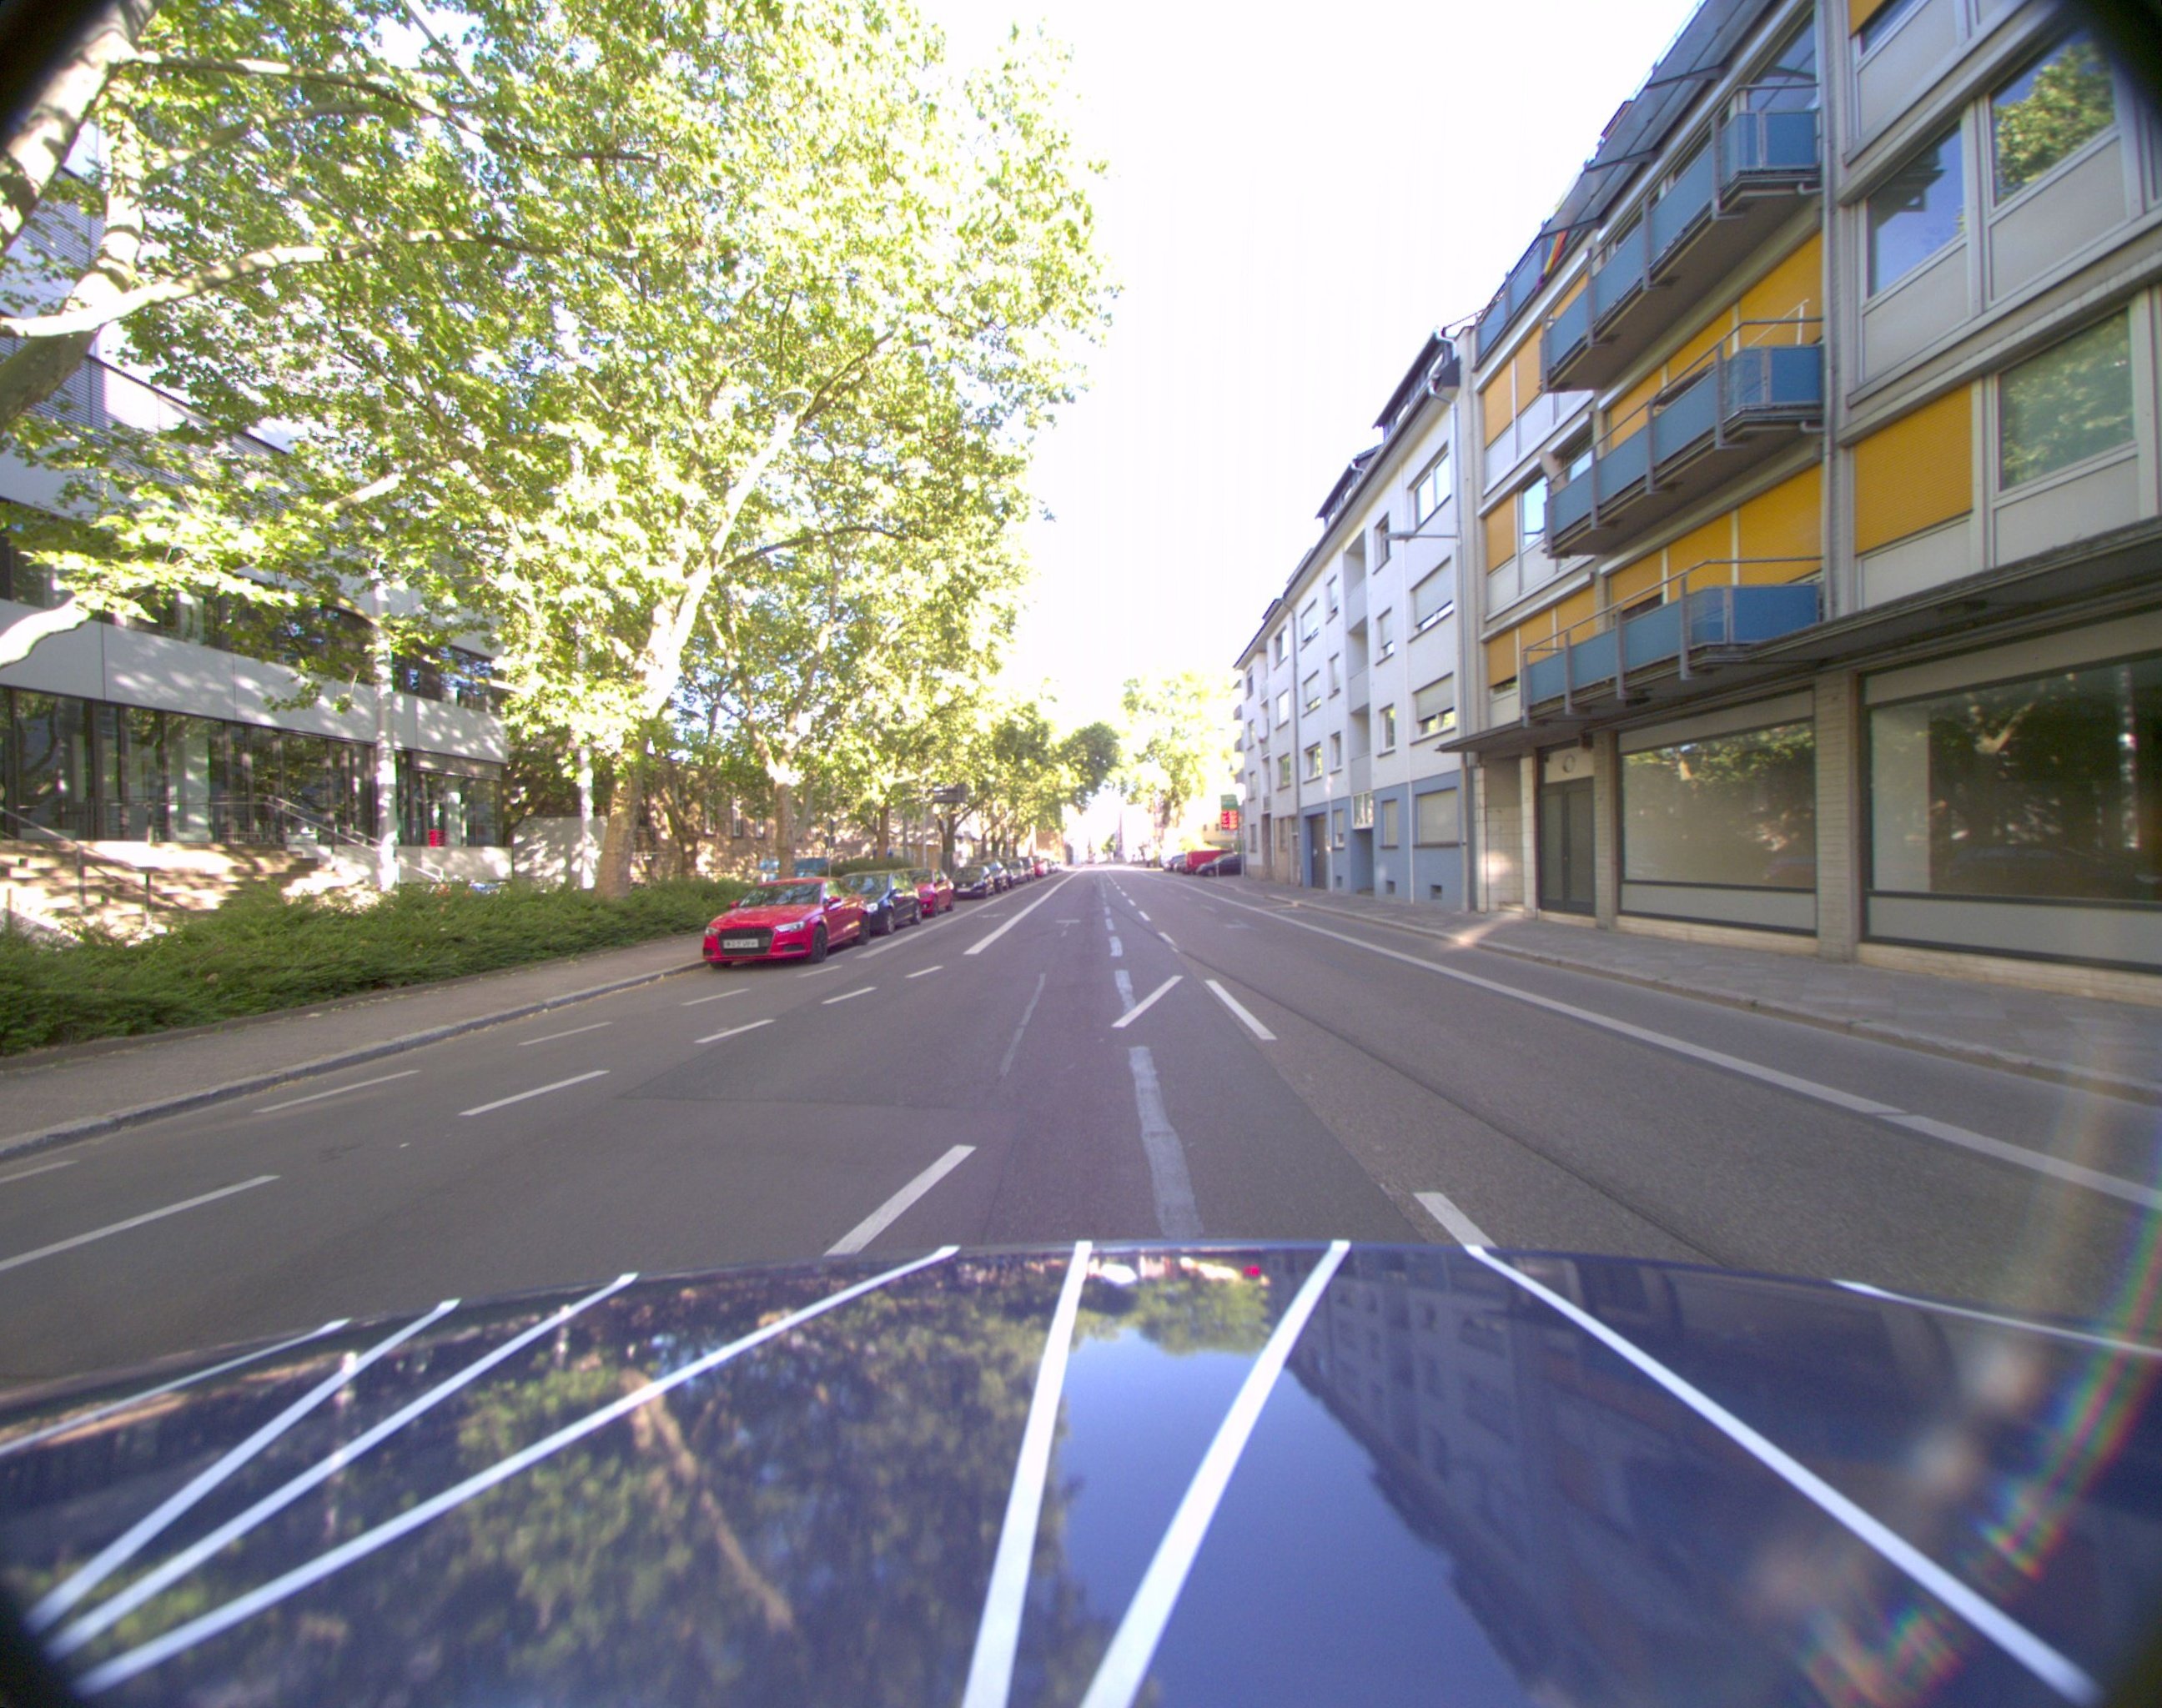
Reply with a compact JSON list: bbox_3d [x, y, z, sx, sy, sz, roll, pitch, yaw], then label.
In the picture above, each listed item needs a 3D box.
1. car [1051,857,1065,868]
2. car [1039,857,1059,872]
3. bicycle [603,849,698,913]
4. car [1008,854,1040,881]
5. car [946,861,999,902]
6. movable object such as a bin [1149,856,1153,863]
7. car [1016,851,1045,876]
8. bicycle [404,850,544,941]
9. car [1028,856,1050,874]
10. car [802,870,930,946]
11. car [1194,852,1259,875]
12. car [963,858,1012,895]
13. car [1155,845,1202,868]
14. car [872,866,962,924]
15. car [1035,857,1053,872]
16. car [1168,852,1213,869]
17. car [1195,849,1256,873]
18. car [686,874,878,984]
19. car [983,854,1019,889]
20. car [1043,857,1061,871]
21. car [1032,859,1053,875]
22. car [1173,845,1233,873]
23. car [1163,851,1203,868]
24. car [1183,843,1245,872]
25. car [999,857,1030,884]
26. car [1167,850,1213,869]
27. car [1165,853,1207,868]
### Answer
[{"bbox_3d":[-3.169,1.161,103.296,1.860,1.428,4.969,-2,0,-2],"label":"car"},{"bbox_3d":[-3.619,1.137,86.346,1.860,1.513,4.599,-3,0,1],"label":"car"},{"bbox_3d":[-13.945,0.873,24.661,2.604,2.002,0.742,-1,1,1],"label":"bicycle"},{"bbox_3d":[-4.115,0.946,55.301,1.697,1.802,4.130,-4,0,3],"label":"car"},{"bbox_3d":[-4.628,1.135,32.838,1.697,1.495,4.019,-4,0,-1],"label":"car"},{"bbox_3d":[10.581,0.891,115.264,0.595,1.065,0.644,-1,0,1],"label":"movable object such as a bin"},{"bbox_3d":[-4.365,0.810,66.457,2.083,1.982,5.171,-3,0,-1],"label":"car"},{"bbox_3d":[-14.001,0.941,17.560,2.604,2.002,0.742,-1,1,1],"label":"bicycle"},{"bbox_3d":[-3.904,1.025,71.494,1.641,1.476,3.760,-4,0,3],"label":"car"},{"bbox_3d":[-5.033,1.207,18.386,1.697,1.458,4.066,-4,0,2],"label":"car"},{"bbox_3d":[10.408,0.643,54.654,4.239,1.372,2.046,-3,1,1],"label":"car"},{"bbox_3d":[-4.615,1.079,38.078,1.780,1.618,4.620,-4,0,0],"label":"car"},{"bbox_3d":[10.891,0.260,85.245,4.856,2.204,2.140,-3,0,1],"label":"car"},{"bbox_3d":[-5.012,1.194,23.755,1.697,1.470,4.318,-4,0,1],"label":"car"},{"bbox_3d":[-3.916,1.139,80.513,1.617,1.466,3.493,-4,0,0],"label":"car"},{"bbox_3d":[10.508,0.632,72.974,3.997,1.447,1.916,-3,0,1],"label":"car"},{"bbox_3d":[10.812,0.512,57.162,4.183,1.554,1.886,-4,0,1],"label":"car"},{"bbox_3d":[-5.126,1.200,13.739,1.697,1.441,4.435,-4,0,-1],"label":"car"},{"bbox_3d":[-4.666,0.974,43.973,1.830,1.830,4.896,-4,0,-7],"label":"car"},{"bbox_3d":[-3.476,1.161,92.551,1.860,1.514,4.297,-3,0,0],"label":"car"},{"bbox_3d":[-3.849,1.297,75.994,1.860,1.502,3.929,-4,0,-1],"label":"car"},{"bbox_3d":[10.069,0.391,62.785,4.533,1.940,2.057,-4,0,1],"label":"car"},{"bbox_3d":[10.781,0.594,80.686,3.997,1.550,1.853,-3,0,1],"label":"car"},{"bbox_3d":[10.454,0.295,60.026,4.432,1.940,2.146,-4,0,1],"label":"car"},{"bbox_3d":[-4.384,1.037,50.766,1.697,1.618,4.329,-4,0,-1],"label":"car"},{"bbox_3d":[10.883,0.566,76.025,4.204,1.674,2.028,-3,0,1],"label":"car"},{"bbox_3d":[10.832,0.662,78.560,3.997,1.424,1.853,-3,0,1],"label":"car"}]
